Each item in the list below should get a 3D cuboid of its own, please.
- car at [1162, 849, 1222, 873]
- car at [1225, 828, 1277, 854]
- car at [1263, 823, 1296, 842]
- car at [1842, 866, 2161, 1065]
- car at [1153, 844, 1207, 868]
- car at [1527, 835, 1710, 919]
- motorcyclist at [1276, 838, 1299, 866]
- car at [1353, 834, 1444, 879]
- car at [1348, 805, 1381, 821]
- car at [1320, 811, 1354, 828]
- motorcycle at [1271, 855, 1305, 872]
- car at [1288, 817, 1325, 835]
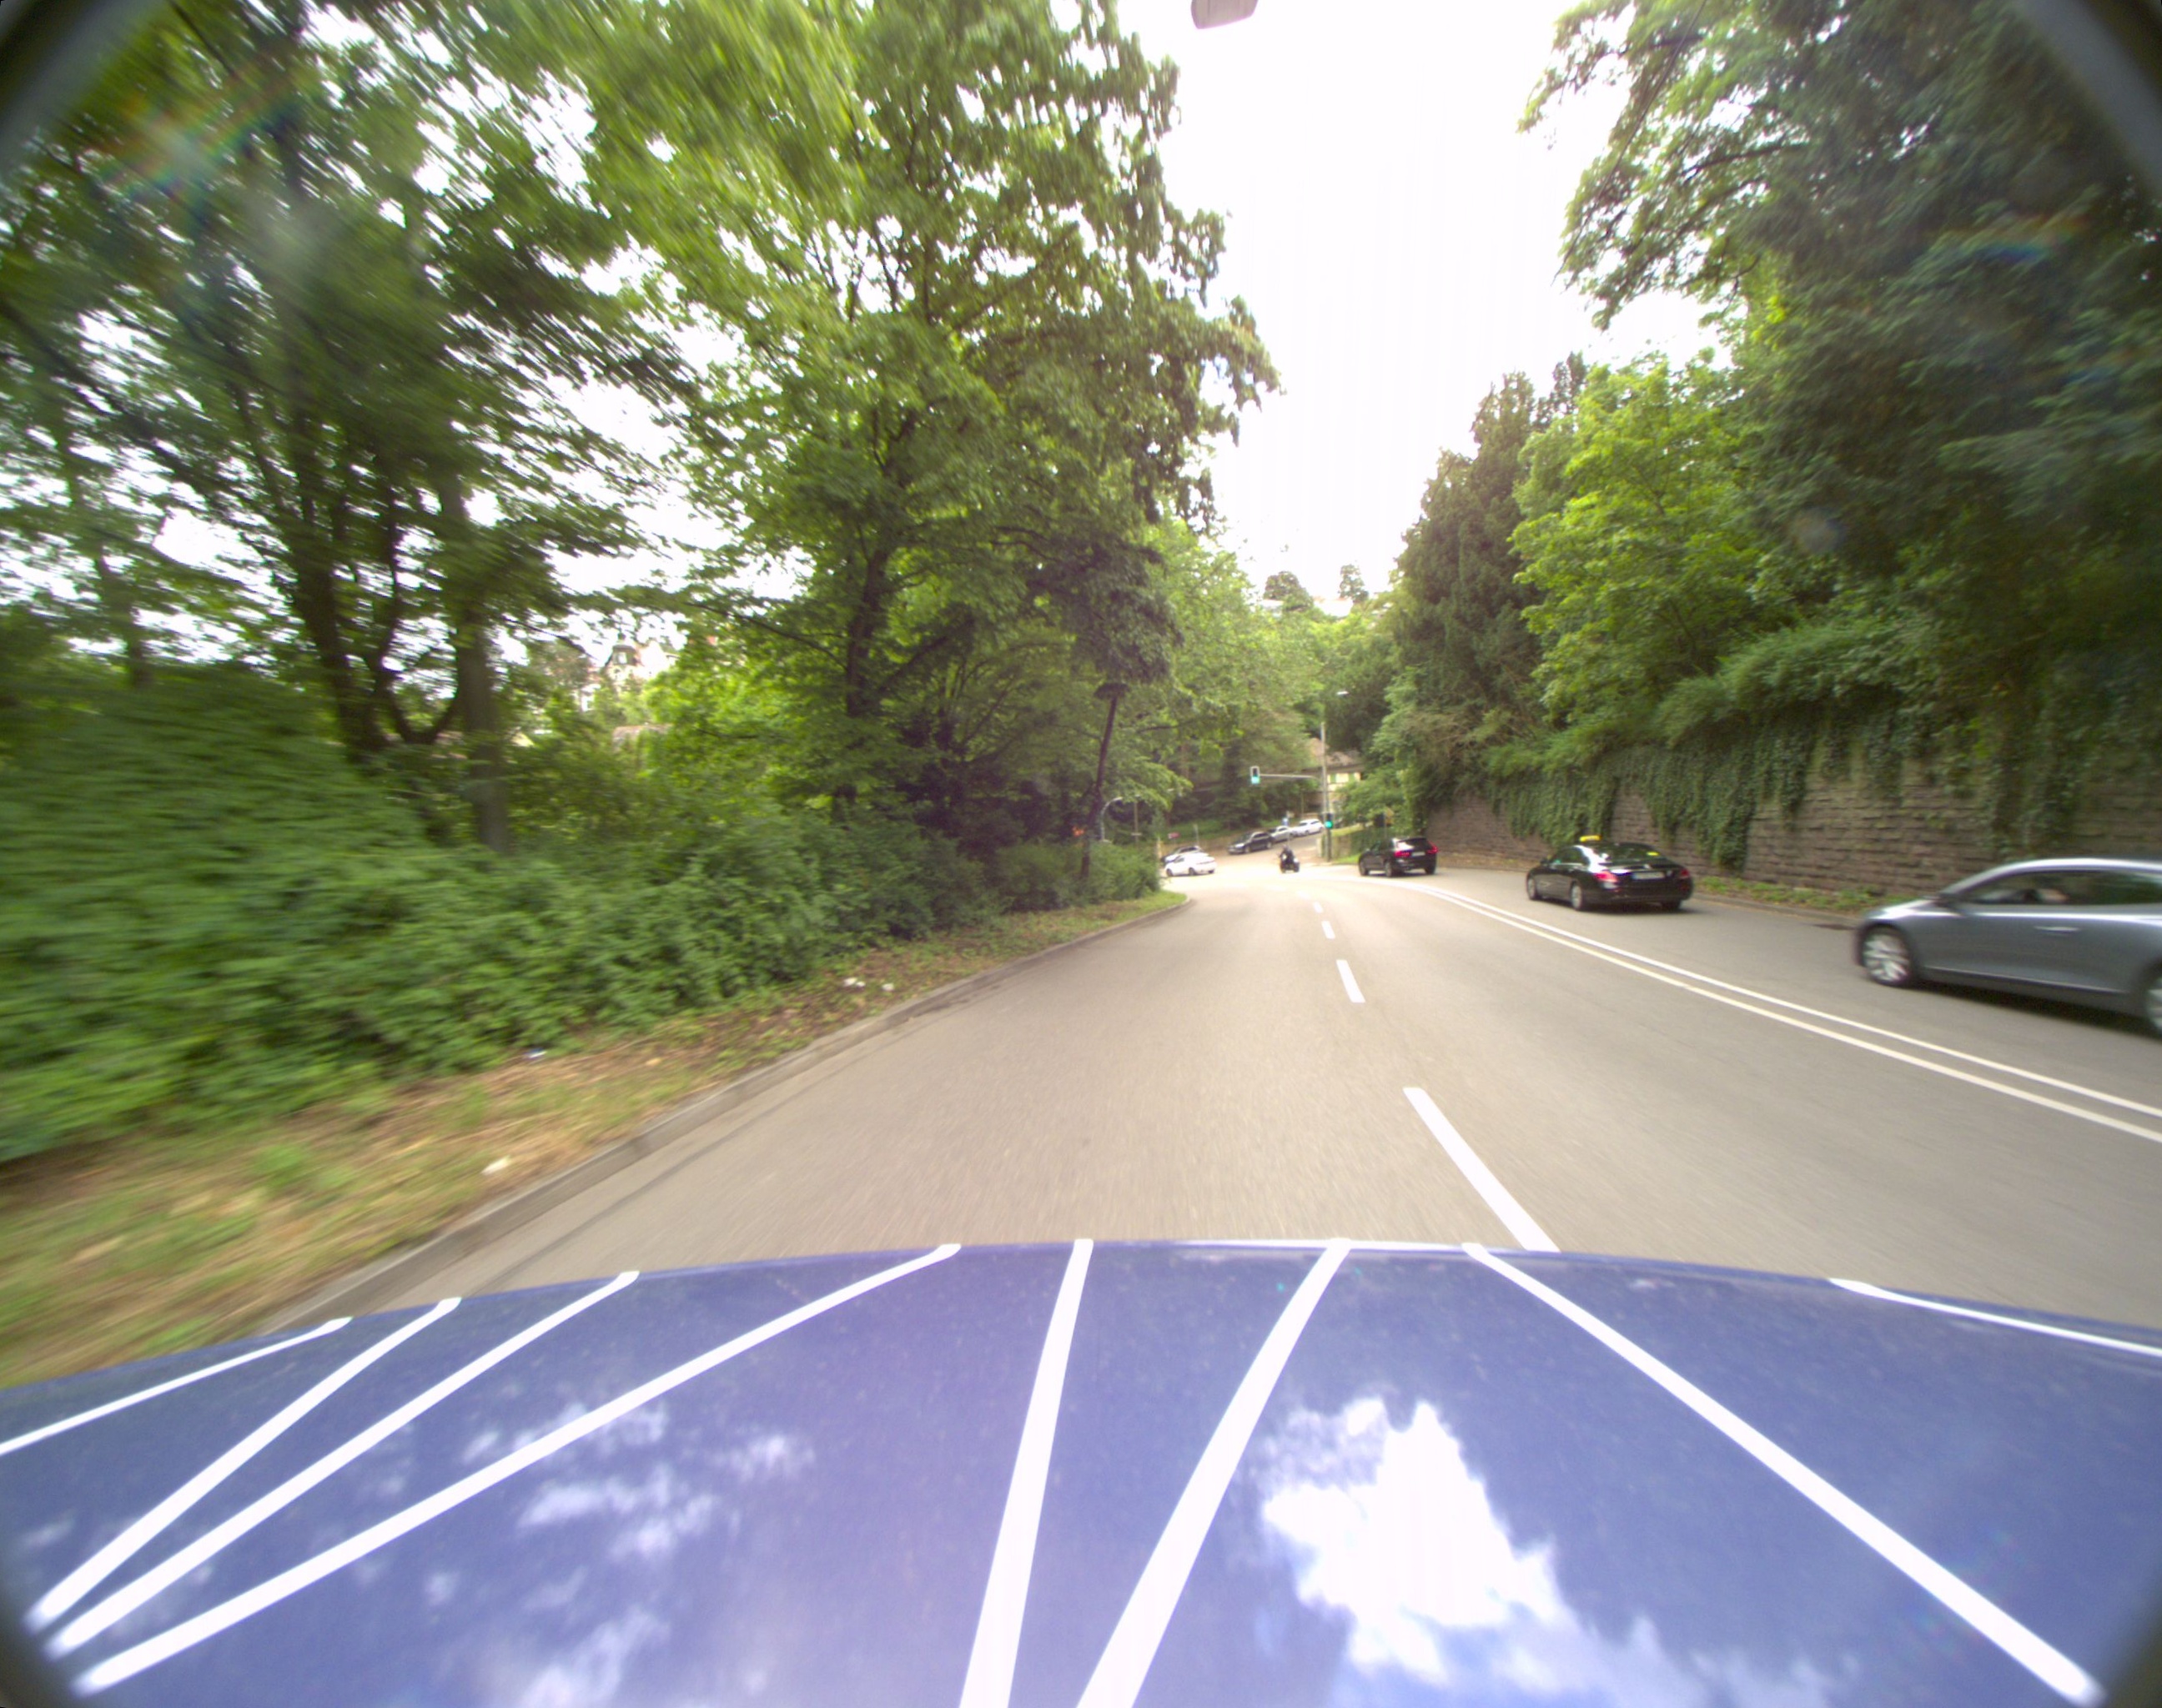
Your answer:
[{"bbox_3d":[7.795,0.544,53.648,1.754,1.408,4.320,-6,1,-30],"label":"car"},{"bbox_3d":[15.137,-1.164,67.535,4.548,1.676,1.803,-10,5,-35],"label":"car"},{"bbox_3d":[19.365,-2.093,74.095,3.269,1.440,1.501,-12,8,-40],"label":"car"},{"bbox_3d":[8.786,0.823,6.147,1.774,1.331,3.963,-1,0,10],"label":"car"},{"bbox_3d":[8.303,0.150,63.881,4.002,1.351,1.750,-9,4,-21],"label":"car"},{"bbox_3d":[11.633,0.418,16.868,1.864,1.588,4.635,-1,1,16],"label":"car"},{"bbox_3d":[11.713,-0.104,43.152,0.749,1.520,1.093,-3,1,-12],"label":"motorcyclist"},{"bbox_3d":[13.538,0.079,32.697,1.854,1.639,4.510,-5,0,-1],"label":"car"},{"bbox_3d":[31.404,-4.545,84.203,3.916,1.323,1.598,-11,7,-39],"label":"car"},{"bbox_3d":[27.344,-3.651,81.066,3.916,1.323,1.598,-11,7,-39],"label":"car"},{"bbox_3d":[11.735,0.538,43.232,0.811,0.884,2.426,-3,1,-12],"label":"motorcycle"},{"bbox_3d":[23.033,-2.879,77.607,4.028,1.323,1.624,-11,8,-39],"label":"car"}]
